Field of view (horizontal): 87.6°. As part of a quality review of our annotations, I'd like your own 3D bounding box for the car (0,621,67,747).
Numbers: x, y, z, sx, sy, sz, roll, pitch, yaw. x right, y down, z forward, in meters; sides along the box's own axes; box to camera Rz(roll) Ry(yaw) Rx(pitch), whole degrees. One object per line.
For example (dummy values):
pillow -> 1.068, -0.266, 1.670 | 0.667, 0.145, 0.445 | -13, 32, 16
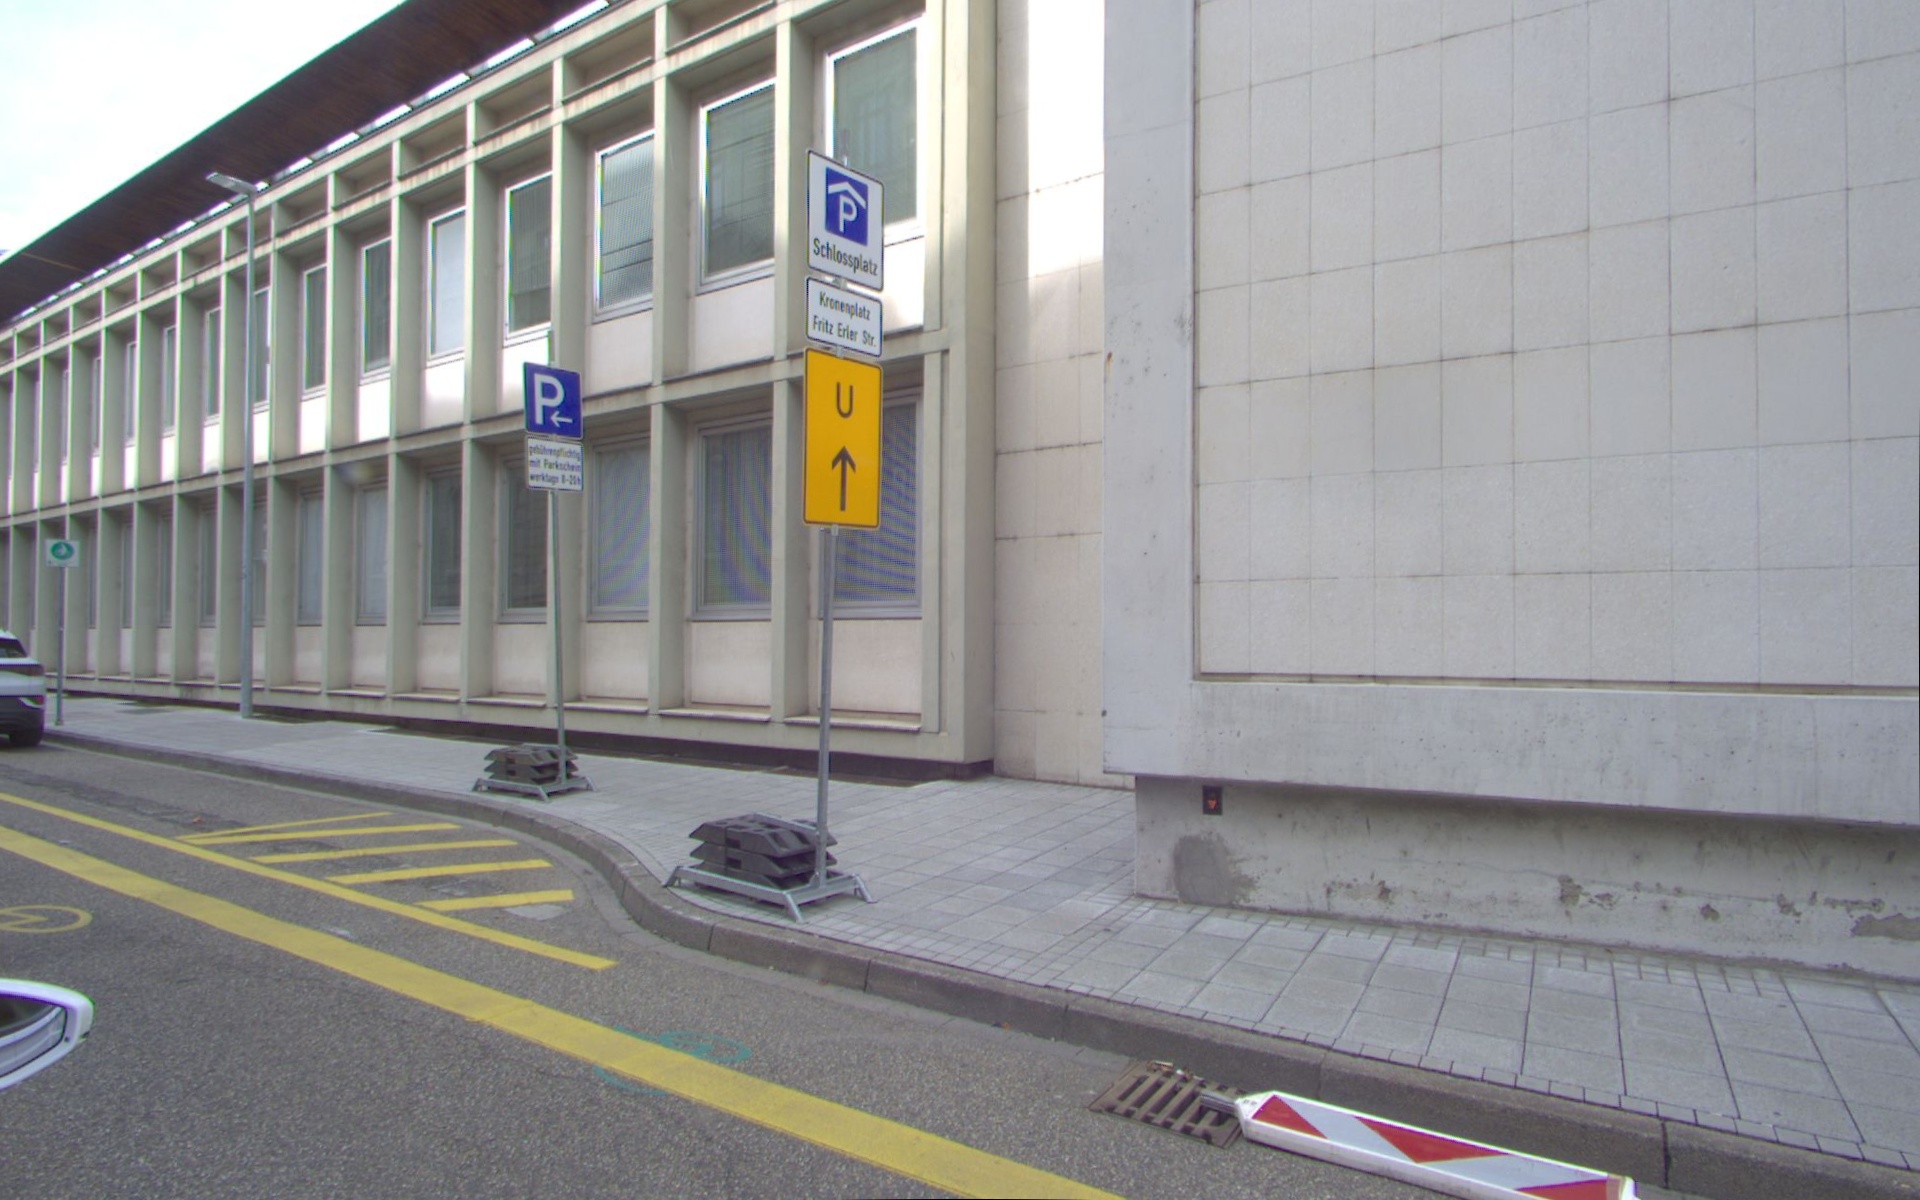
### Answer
car -> -14.372, 1.102, 13.951 | 4.452, 1.624, 1.857 | -1, -5, 35
